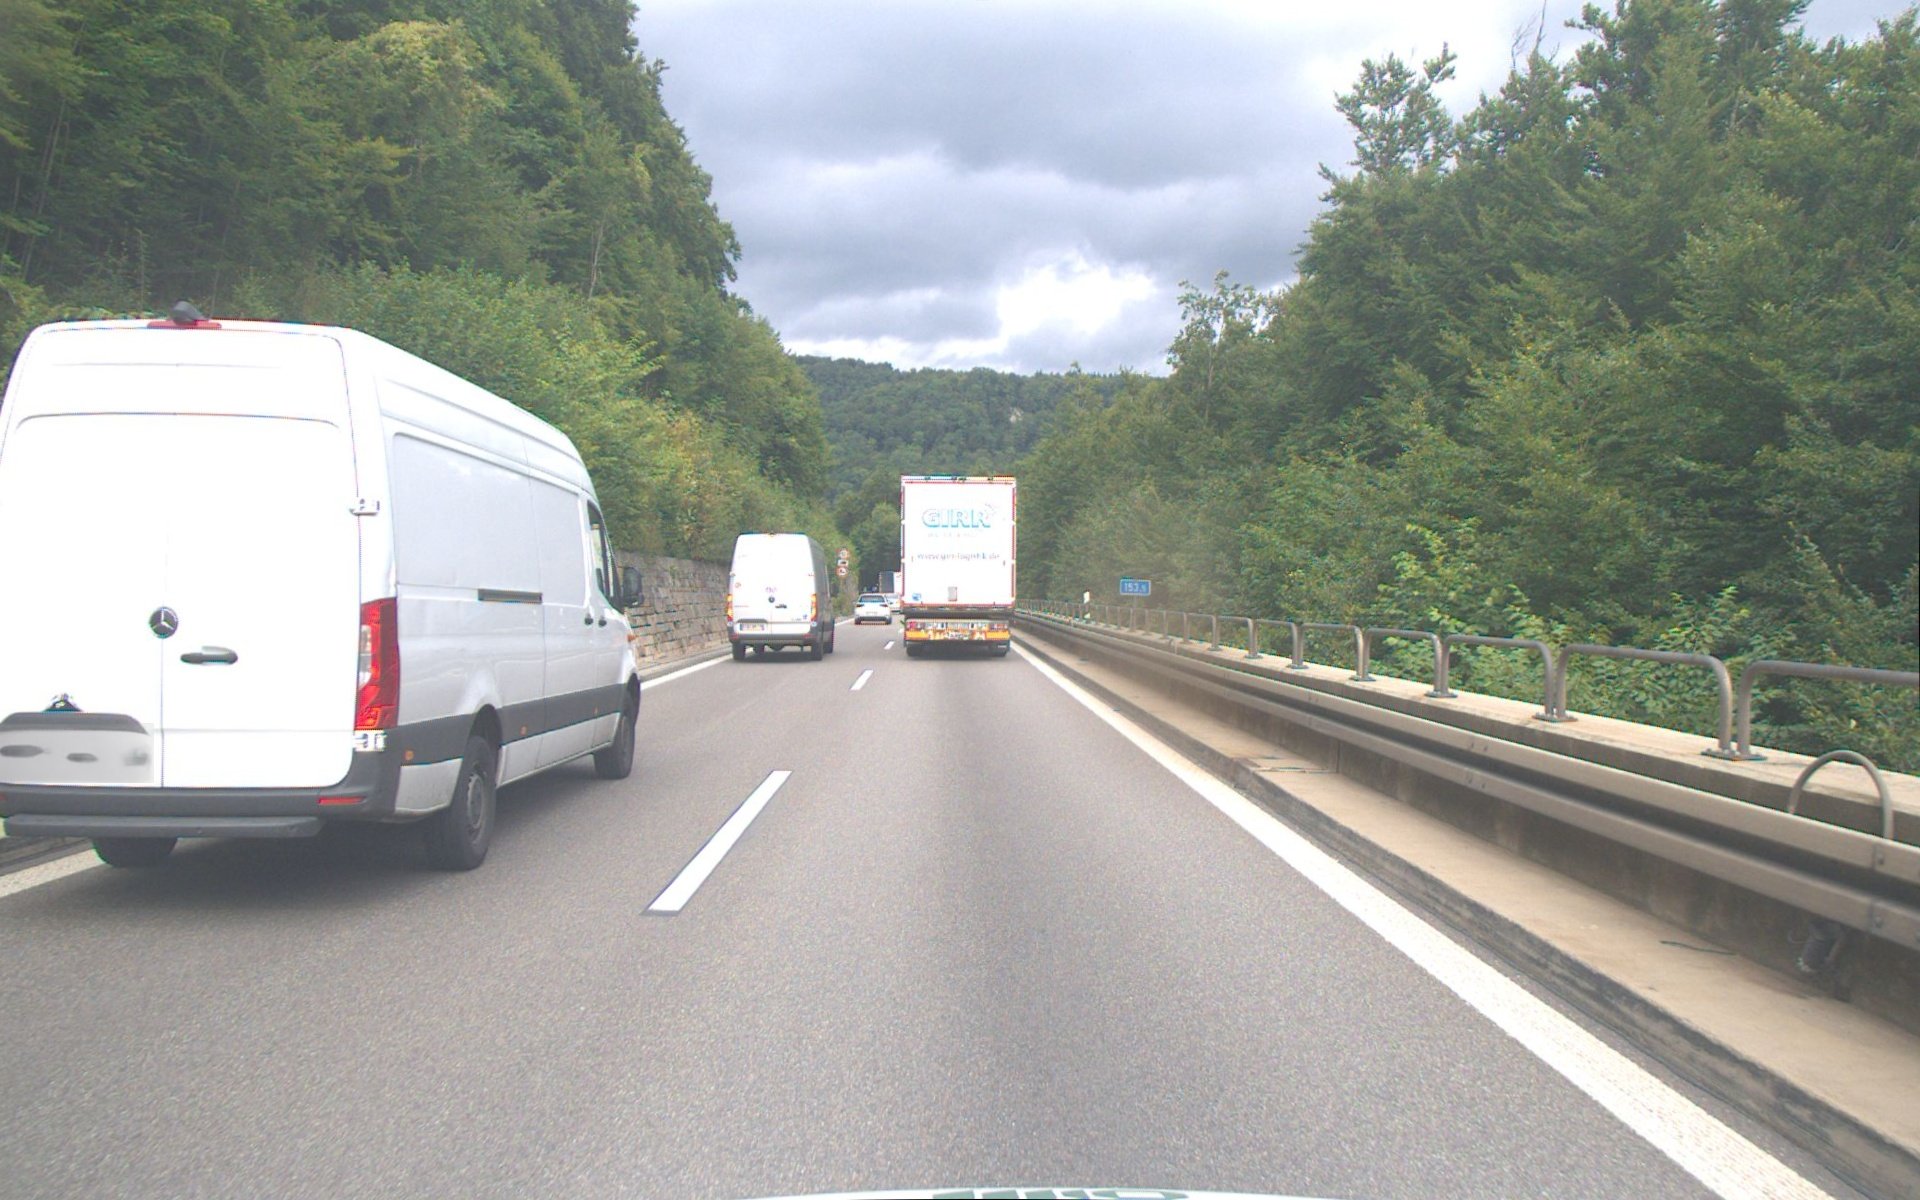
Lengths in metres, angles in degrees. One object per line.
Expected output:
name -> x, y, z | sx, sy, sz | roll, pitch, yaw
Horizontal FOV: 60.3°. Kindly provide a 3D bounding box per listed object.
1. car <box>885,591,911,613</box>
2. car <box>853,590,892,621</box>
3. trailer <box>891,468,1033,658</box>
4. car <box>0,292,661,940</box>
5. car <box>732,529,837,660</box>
car -> -4.345, 0.130, 116.180 | 1.696, 1.446, 4.000 | 1, 0, 0
car -> -4.215, 0.247, 80.082 | 1.697, 1.446, 3.999 | 1, 0, -1
trailer -> -0.033, -0.961, 41.692 | 2.995, 4.055, 12.136 | 1, 2, -1
car -> -3.445, 0.045, 10.421 | 1.948, 2.719, 6.935 | 0, 0, -1
car -> -3.865, -0.140, 37.327 | 1.900, 2.719, 5.989 | 0, 0, -2
